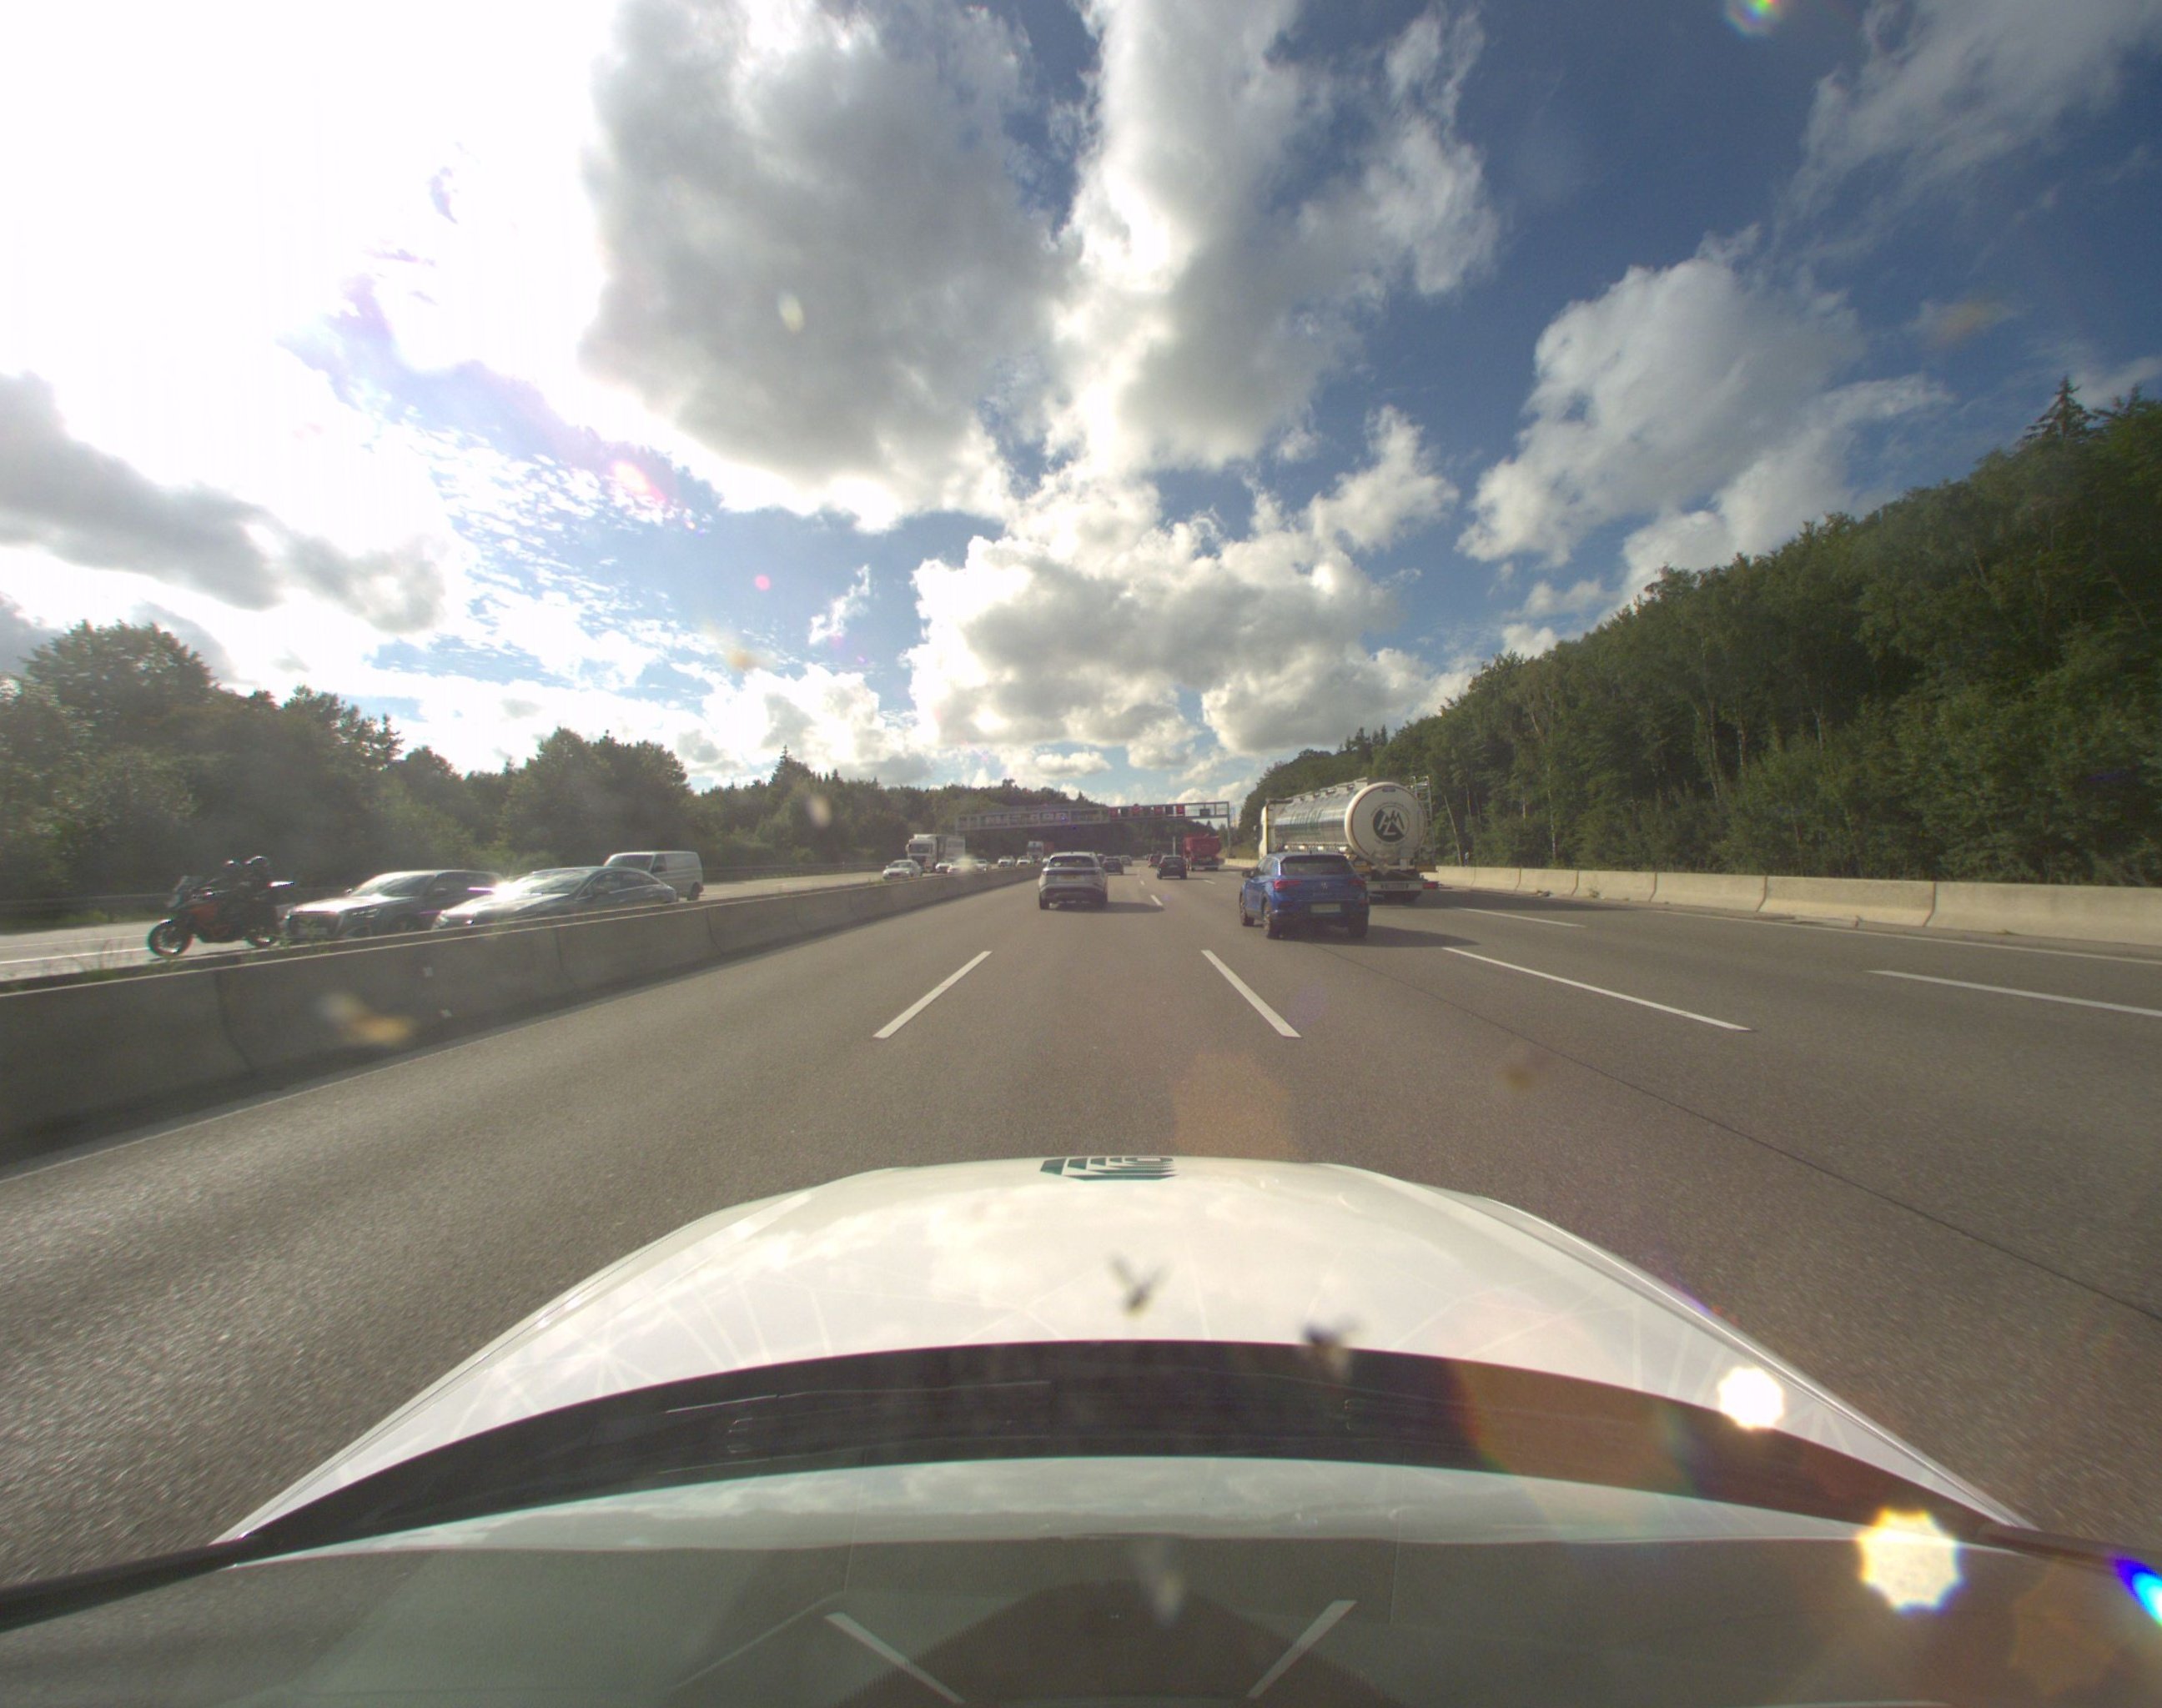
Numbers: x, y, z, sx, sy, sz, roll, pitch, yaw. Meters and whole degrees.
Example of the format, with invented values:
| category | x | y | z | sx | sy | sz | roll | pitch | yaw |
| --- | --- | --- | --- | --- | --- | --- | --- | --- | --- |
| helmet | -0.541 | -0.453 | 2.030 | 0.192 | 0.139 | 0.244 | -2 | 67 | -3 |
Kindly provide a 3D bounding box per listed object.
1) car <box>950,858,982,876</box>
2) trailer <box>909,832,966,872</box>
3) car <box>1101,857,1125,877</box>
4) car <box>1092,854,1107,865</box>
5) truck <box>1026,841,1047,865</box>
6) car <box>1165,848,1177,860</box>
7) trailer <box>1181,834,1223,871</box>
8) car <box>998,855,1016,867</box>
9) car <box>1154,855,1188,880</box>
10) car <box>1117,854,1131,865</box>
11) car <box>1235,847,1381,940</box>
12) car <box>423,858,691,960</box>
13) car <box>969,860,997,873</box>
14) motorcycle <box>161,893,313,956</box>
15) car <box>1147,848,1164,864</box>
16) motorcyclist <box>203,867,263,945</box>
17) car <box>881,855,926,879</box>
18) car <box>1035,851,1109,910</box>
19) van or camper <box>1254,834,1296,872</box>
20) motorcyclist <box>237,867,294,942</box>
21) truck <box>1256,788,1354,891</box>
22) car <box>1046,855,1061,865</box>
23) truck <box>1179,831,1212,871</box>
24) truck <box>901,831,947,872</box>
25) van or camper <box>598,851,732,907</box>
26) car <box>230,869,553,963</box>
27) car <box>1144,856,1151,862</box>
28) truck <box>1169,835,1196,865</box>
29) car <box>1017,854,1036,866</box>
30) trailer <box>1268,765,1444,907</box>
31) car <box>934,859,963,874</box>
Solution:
| category | x | y | z | sx | sy | sz | roll | pitch | yaw |
| --- | --- | --- | --- | --- | --- | --- | --- | --- | --- |
| car | -9.385 | 1.019 | 66.835 | 1.674 | 1.397 | 4.720 | -1 | 0 | 4 |
| trailer | -16.137 | -0.198 | 92.857 | 3.304 | 4.106 | 14.163 | -1 | 0 | 2 |
| car | 2.607 | 1.016 | 65.332 | 1.814 | 1.546 | 4.004 | -1 | 0 | 4 |
| car | 2.652 | 0.787 | 113.352 | 1.934 | 1.457 | 4.003 | -2 | 0 | 3 |
| truck | -7.749 | -0.225 | 142.485 | 2.726 | 4.106 | 5.773 | -1 | 0 | 5 |
| car | 14.232 | -0.009 | 128.924 | 1.885 | 1.857 | 4.105 | 0 | 0 | 5 |
| trailer | 11.054 | -0.145 | 75.463 | 2.700 | 3.231 | 9.736 | -1 | 0 | 2 |
| car | -10.533 | 0.996 | 116.332 | 1.786 | 1.617 | 5.050 | -1 | 0 | 4 |
| car | 5.692 | 0.825 | 51.947 | 1.815 | 1.457 | 4.001 | -1 | 0 | 1 |
| car | 5.993 | 0.735 | 112.613 | 1.813 | 1.457 | 4.006 | -1 | -1 | 5 |
| car | 4.241 | 0.663 | 15.928 | 1.766 | 1.530 | 4.460 | -1 | 0 | 2 |
| car | -9.355 | 0.882 | 15.134 | 1.856 | 1.552 | 4.663 | -1 | 0 | 1 |
| car | -9.074 | 1.137 | 75.730 | 1.803 | 1.161 | 4.519 | -1 | 0 | 3 |
| motorcycle | -16.425 | 1.331 | 15.945 | 0.607 | 1.040 | 2.177 | -1 | 0 | 3 |
| car | 8.912 | 0.249 | 97.405 | 1.885 | 1.857 | 4.105 | 0 | 0 | 4 |
| motorcyclist | -16.438 | 0.992 | 15.800 | 0.600 | 1.476 | 0.532 | -1 | -1 | 3 |
| car | -11.359 | 0.806 | 52.406 | 1.763 | 1.394 | 4.692 | -1 | 0 | 1 |
| car | -0.159 | 0.738 | 25.152 | 1.998 | 1.616 | 5.304 | -1 | 0 | 2 |
| van or camper | 12.427 | -0.055 | 52.380 | 1.814 | 2.307 | 4.944 | -1 | 0 | 4 |
| motorcyclist | -16.398 | 0.998 | 16.383 | 0.600 | 1.476 | 0.532 | -1 | -1 | 3 |
| truck | 9.154 | -0.542 | 33.963 | 2.637 | 3.823 | 6.087 | -2 | 0 | 3 |
| car | -4.491 | 0.992 | 132.906 | 1.849 | 1.525 | 5.000 | -1 | 0 | 4 |
| truck | 11.254 | -0.284 | 80.478 | 2.699 | 3.718 | 5.821 | -1 | 0 | 2 |
| truck | -16.422 | -0.202 | 85.765 | 3.305 | 4.106 | 6.228 | -1 | 0 | 2 |
| van or camper | -15.877 | 0.893 | 31.477 | 1.984 | 1.937 | 5.465 | -1 | 0 | 5 |
| car | -13.140 | 1.082 | 16.073 | 2.163 | 1.470 | 4.788 | -1 | 0 | 2 |
| car | 19.607 | 1.501 | 240.620 | 2.067 | 1.457 | 4.006 | -2 | 0 | 6 |
| truck | 14.301 | -0.543 | 115.722 | 3.105 | 3.935 | 10.420 | -1 | 0 | 3 |
| car | -7.244 | 0.788 | 109.043 | 1.700 | 1.594 | 4.950 | -1 | 0 | 5 |
| trailer | 8.788 | -0.481 | 27.972 | 2.637 | 3.767 | 11.871 | -2 | 0 | 3 |
| car | -12.937 | 1.206 | 79.776 | 1.803 | 1.453 | 4.805 | -1 | 0 | 3 |
